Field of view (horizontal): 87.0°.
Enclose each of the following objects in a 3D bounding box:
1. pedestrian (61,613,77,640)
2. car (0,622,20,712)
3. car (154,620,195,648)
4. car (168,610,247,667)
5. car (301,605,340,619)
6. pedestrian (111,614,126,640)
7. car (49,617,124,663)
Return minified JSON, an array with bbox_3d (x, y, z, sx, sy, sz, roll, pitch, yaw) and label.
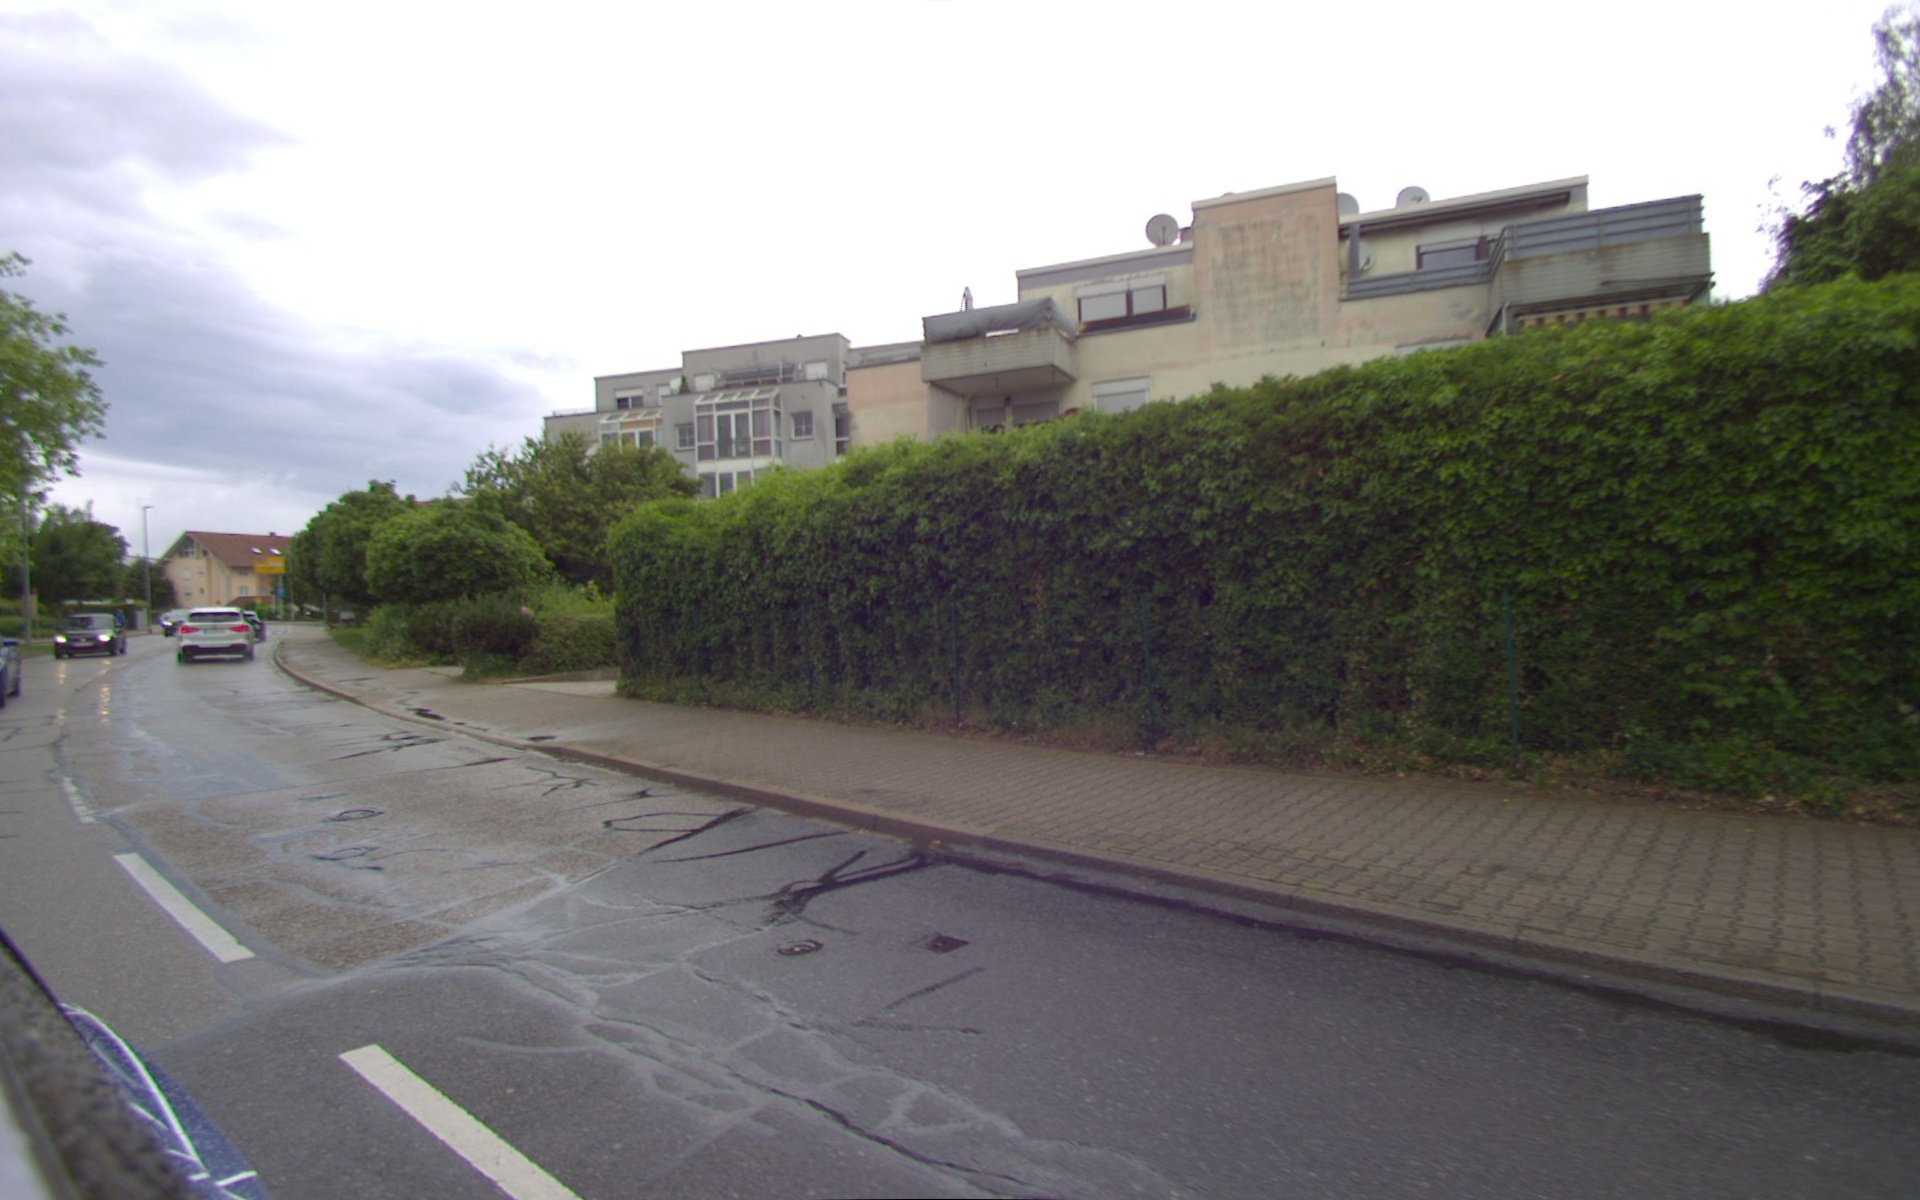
[{"bbox_3d":[-60.302,1.770,68.473,0.669,1.786,0.609,-2,1,32],"label":"pedestrian"},{"bbox_3d":[-17.490,1.110,17.279,1.884,1.444,4.308,0,-1,-40],"label":"car"},{"bbox_3d":[-48.529,2.091,62.595,1.812,1.561,4.010,-3,1,-35],"label":"car"},{"bbox_3d":[-23.834,1.151,31.987,1.866,1.623,4.875,0,-1,-38],"label":"car"},{"bbox_3d":[-75.544,1.429,119.543,3.964,1.613,1.729,-1,0,16],"label":"car"},{"bbox_3d":[-55.075,1.757,66.243,0.775,1.679,0.583,-2,1,40],"label":"pedestrian"},{"bbox_3d":[-31.222,1.389,36.278,1.812,1.459,4.008,-3,1,-38],"label":"car"}]
